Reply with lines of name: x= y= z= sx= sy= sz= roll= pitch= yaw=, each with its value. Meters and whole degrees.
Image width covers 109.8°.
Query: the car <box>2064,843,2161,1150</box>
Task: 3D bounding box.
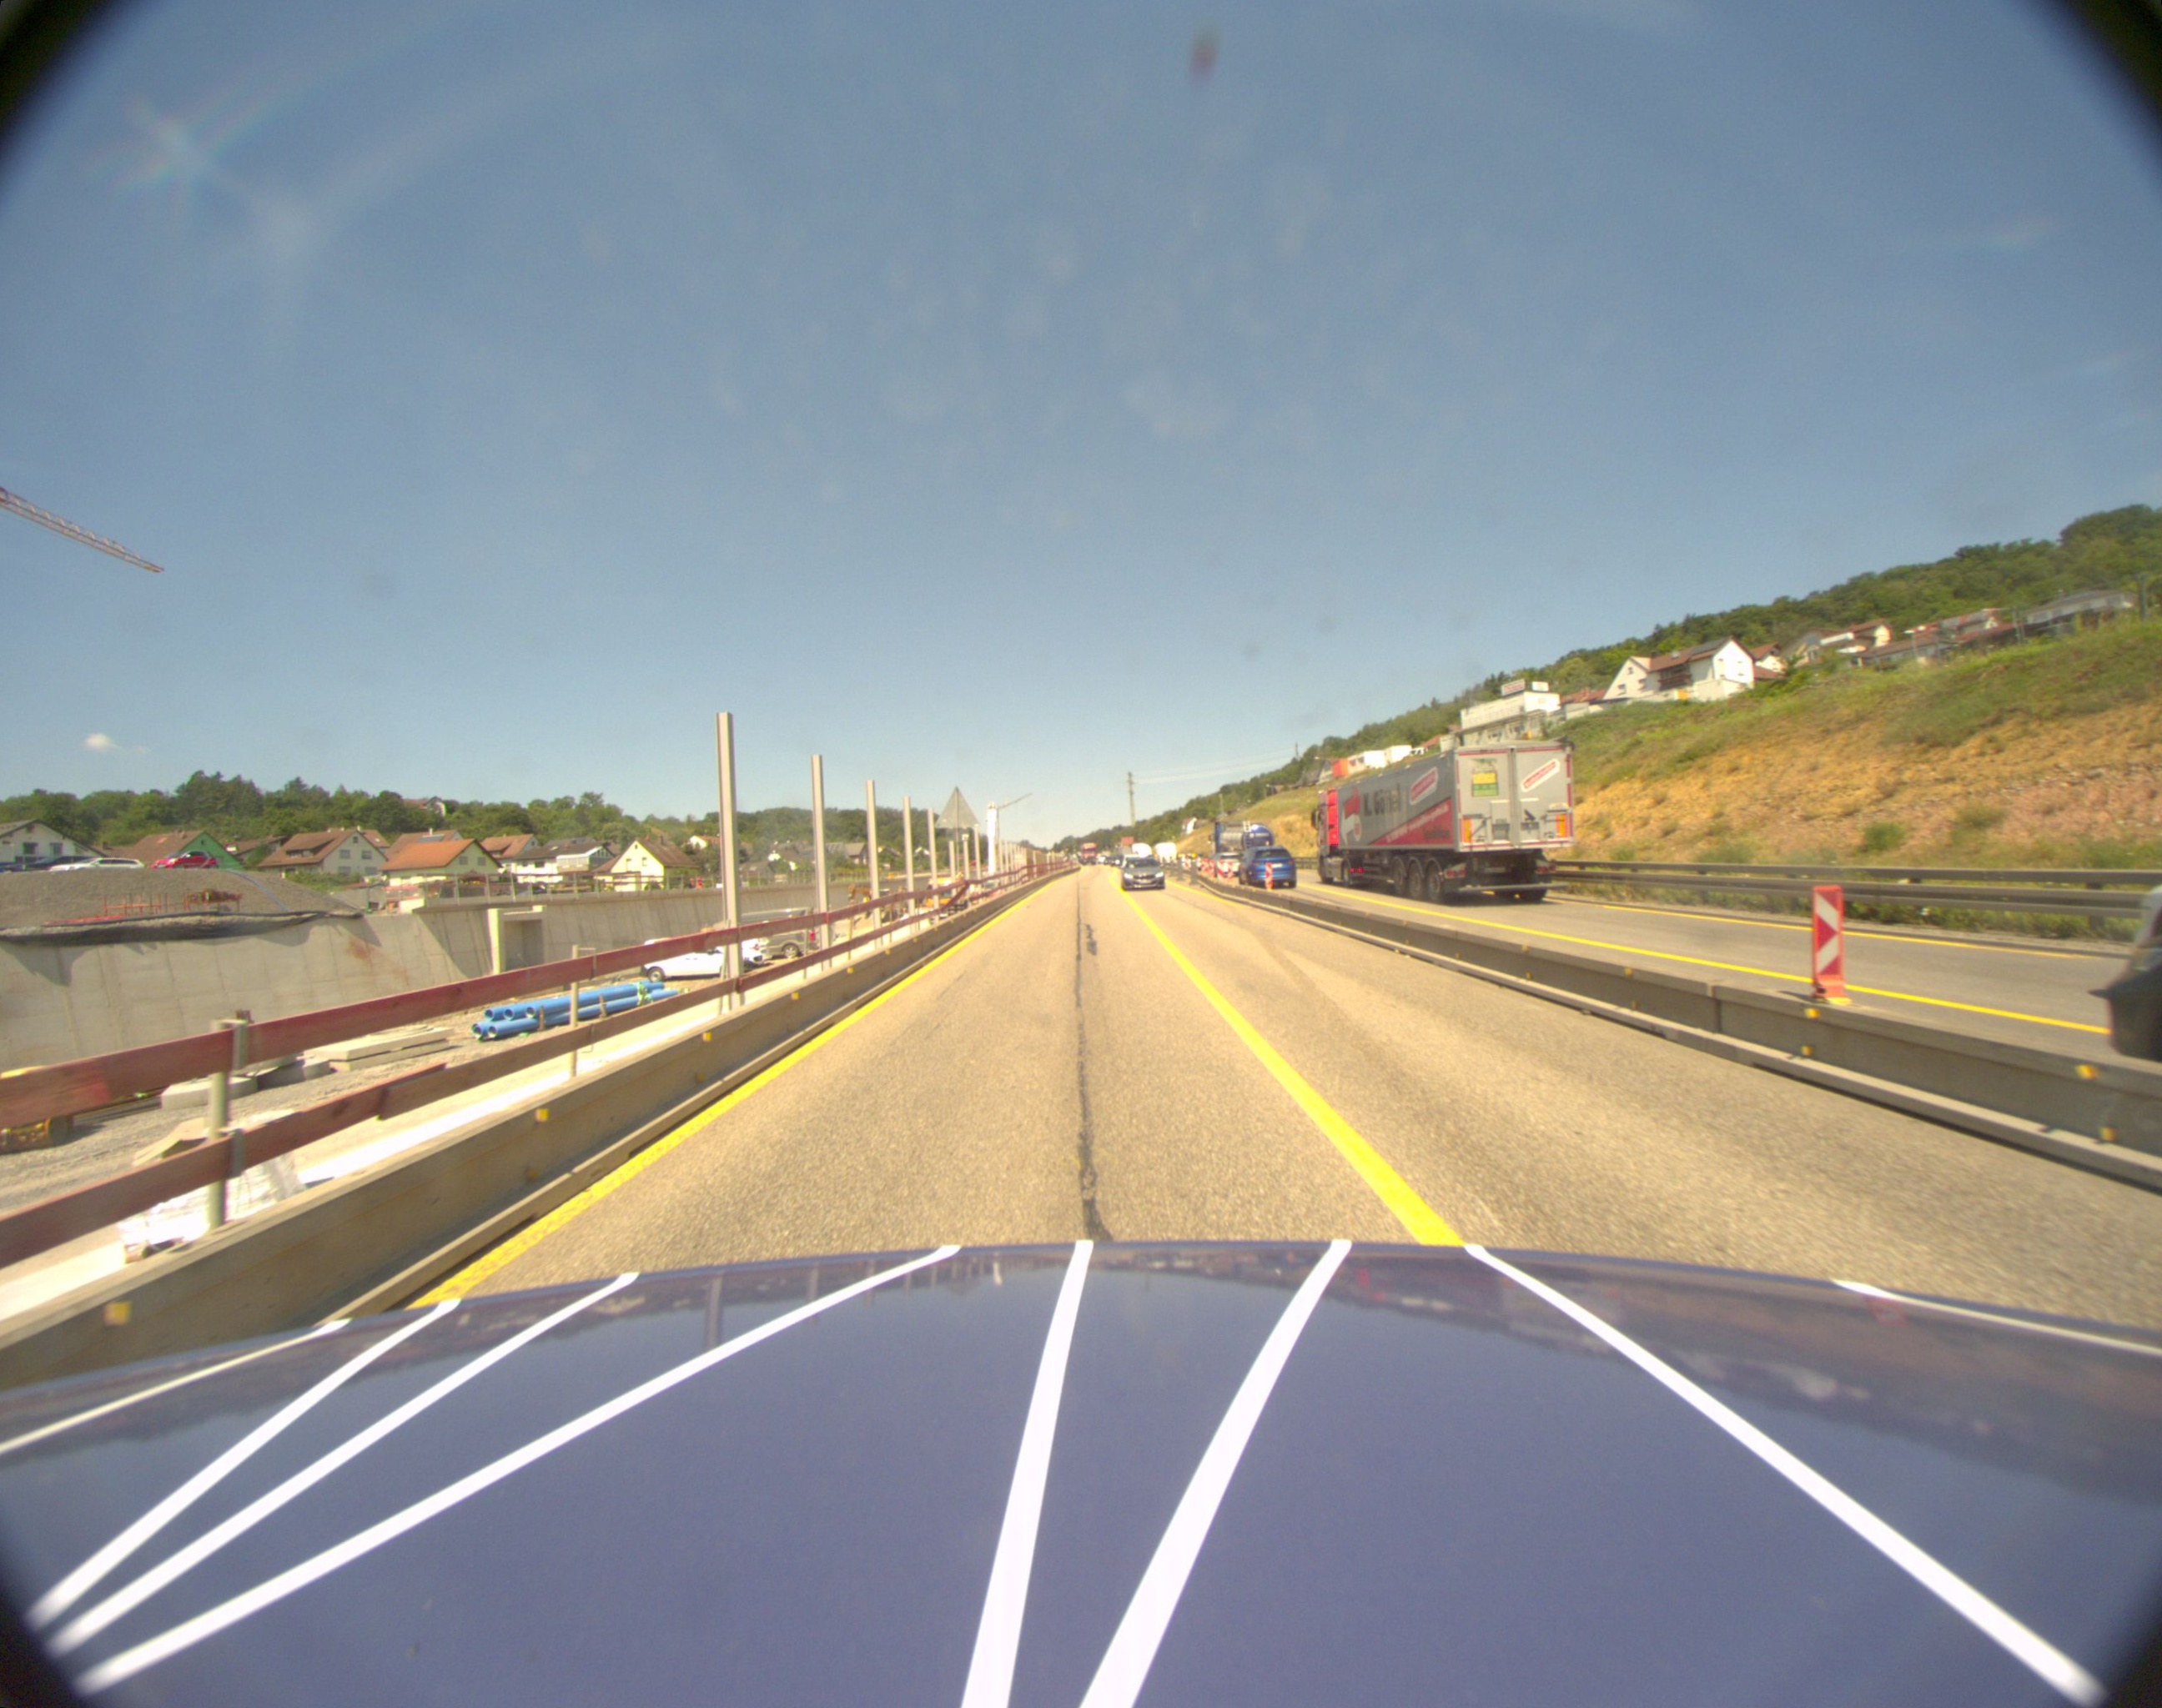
car: x=6.182 y=0.660 z=2.001 sx=1.758 sy=1.508 sz=4.187 roll=-3 pitch=0 yaw=1

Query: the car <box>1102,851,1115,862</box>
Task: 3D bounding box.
car: x=4.585 y=0.406 z=126.132 sx=1.801 sy=1.542 sz=4.000 roll=-3 pitch=-1 yaw=-2

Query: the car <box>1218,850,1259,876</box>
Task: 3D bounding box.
car: x=9.366 y=0.499 z=45.441 sx=1.837 sy=1.421 sz=4.536 roll=-3 pitch=0 yaw=5

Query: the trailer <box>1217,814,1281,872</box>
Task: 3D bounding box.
trailer: x=12.468 y=-0.812 z=57.392 sx=2.606 sy=3.848 sz=11.273 roll=-3 pitch=1 yaw=2

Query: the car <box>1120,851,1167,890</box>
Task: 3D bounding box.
car: x=2.734 y=0.691 z=34.098 sx=1.838 sy=1.587 sz=4.390 roll=-3 pitch=0 yaw=2

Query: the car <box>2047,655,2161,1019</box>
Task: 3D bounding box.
car: x=9.426 y=-0.139 z=3.253 sx=2.281 sy=2.805 sz=6.558 roll=-3 pitch=1 yaw=1

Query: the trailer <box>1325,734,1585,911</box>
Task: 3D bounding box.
trailer: x=10.169 y=-0.777 z=22.719 sx=2.661 sy=3.794 sz=11.823 roll=-3 pitch=1 yaw=4

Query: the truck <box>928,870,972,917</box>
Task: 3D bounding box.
truck: x=-10.651 y=3.189 z=62.245 sx=2.504 sy=3.385 sz=5.435 roll=-3 pitch=1 yaw=1

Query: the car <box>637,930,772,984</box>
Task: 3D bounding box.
car: x=-16.083 y=4.396 z=32.605 sx=4.801 sy=1.758 sz=1.720 roll=-4 pitch=-1 yaw=1

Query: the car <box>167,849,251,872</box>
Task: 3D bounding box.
car: x=-60.701 y=0.419 z=52.964 sx=1.545 sy=1.477 sz=3.606 roll=-3 pitch=1 yaw=1

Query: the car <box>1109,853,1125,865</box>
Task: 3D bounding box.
car: x=4.898 y=0.680 z=102.827 sx=1.801 sy=1.542 sz=4.000 roll=-3 pitch=-1 yaw=-2

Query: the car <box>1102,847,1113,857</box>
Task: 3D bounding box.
car: x=7.787 y=-0.625 z=228.216 sx=2.926 sy=2.863 sz=6.696 roll=-3 pitch=0 yaw=0

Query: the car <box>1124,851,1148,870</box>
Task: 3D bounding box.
car: x=4.735 y=0.553 z=65.714 sx=1.838 sy=1.465 sz=4.390 roll=-3 pitch=0 yaw=2

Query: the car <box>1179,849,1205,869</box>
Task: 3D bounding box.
car: x=9.316 y=0.375 z=64.143 sx=1.837 sy=1.510 sz=4.844 roll=-3 pitch=0 yaw=5

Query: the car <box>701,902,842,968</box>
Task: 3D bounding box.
car: x=-15.976 y=4.142 z=39.590 sx=6.308 sy=2.566 sz=2.053 roll=-6 pitch=-1 yaw=-13

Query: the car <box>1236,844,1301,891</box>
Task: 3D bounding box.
car: x=7.420 y=0.475 z=30.457 sx=1.837 sy=1.654 sz=4.686 roll=-3 pitch=1 yaw=6

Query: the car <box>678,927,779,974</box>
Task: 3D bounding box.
car: x=-16.538 y=4.528 z=35.792 sx=3.871 sy=1.676 sz=1.692 roll=-4 pitch=0 yaw=-5

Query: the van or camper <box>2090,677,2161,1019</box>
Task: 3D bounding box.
van or camper: x=9.444 y=-0.075 z=3.116 sx=2.129 sy=2.689 sz=6.456 roll=-2 pitch=0 yaw=2

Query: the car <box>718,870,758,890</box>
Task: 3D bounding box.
car: x=-32.902 y=2.443 z=72.974 sx=1.658 sy=1.594 sz=4.605 roll=-3 pitch=1 yaw=0

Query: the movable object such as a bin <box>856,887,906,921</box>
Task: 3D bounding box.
movable object such as a bin: x=-19.166 y=4.788 z=73.153 sx=3.266 sy=2.769 sz=4.001 roll=-3 pitch=1 yaw=6

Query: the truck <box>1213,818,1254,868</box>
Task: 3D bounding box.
truck: x=12.714 y=-0.908 z=63.552 sx=2.588 sy=3.954 sz=4.589 roll=-3 pitch=1 yaw=3

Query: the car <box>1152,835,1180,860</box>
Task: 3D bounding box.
car: x=9.494 y=-0.737 z=85.404 sx=2.211 sy=2.614 sz=6.627 roll=-3 pitch=0 yaw=0

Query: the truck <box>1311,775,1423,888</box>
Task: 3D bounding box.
truck: x=10.735 y=-0.808 z=29.058 sx=2.590 sy=3.806 sz=5.382 roll=-2 pitch=1 yaw=6

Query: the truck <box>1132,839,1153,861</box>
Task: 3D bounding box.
truck: x=11.914 y=-0.768 z=148.267 sx=3.115 sy=4.023 sz=13.156 roll=-3 pitch=1 yaw=1

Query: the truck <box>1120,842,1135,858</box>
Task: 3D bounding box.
truck: x=11.969 y=-1.037 z=197.507 sx=3.148 sy=4.023 sz=10.209 roll=-3 pitch=1 yaw=1

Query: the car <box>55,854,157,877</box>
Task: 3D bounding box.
car: x=-69.567 y=0.807 z=54.333 sx=1.729 sy=1.477 sz=4.214 roll=-3 pitch=1 yaw=1

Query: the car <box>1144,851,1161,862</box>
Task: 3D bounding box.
car: x=9.450 y=0.365 z=100.397 sx=1.838 sy=1.368 sz=4.389 roll=-3 pitch=0 yaw=0

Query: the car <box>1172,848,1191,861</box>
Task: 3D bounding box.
car: x=12.915 y=0.039 z=98.128 sx=1.838 sy=1.482 sz=4.389 roll=-3 pitch=0 yaw=0

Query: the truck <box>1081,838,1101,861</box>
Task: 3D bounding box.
truck: x=1.881 y=-0.941 z=144.353 sx=3.463 sy=4.023 sz=10.209 roll=-3 pitch=1 yaw=1

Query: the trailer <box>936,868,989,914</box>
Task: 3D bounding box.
trailer: x=-10.551 y=3.150 z=68.849 sx=2.446 sy=3.333 sz=12.893 roll=-3 pitch=1 yaw=1
